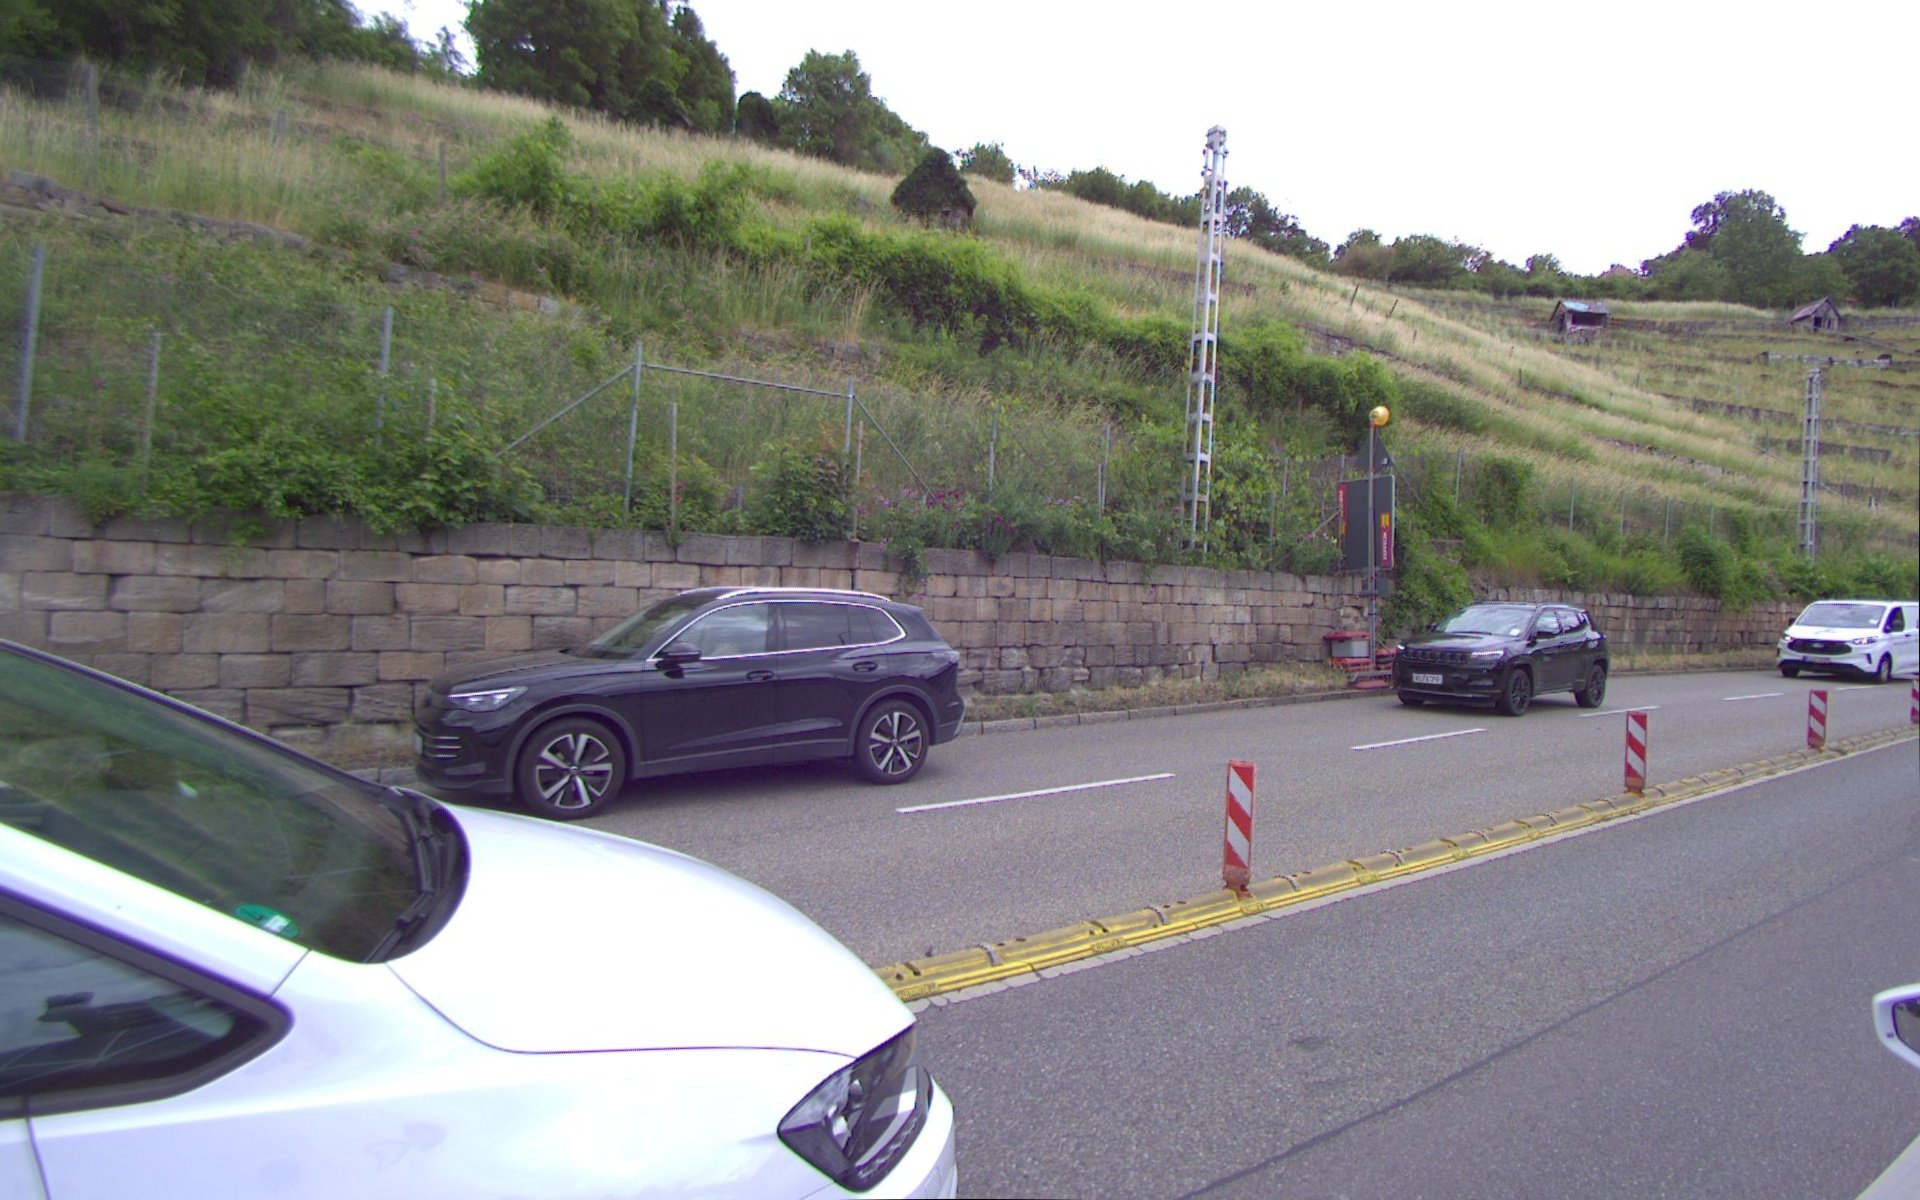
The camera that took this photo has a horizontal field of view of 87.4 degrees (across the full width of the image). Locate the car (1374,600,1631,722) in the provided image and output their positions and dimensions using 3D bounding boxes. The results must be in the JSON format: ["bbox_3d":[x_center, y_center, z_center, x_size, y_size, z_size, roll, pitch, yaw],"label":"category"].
[{"bbox_3d":[8.636,0.895,15.873,4.306,1.645,1.852,2,0,-36],"label":"car"}]

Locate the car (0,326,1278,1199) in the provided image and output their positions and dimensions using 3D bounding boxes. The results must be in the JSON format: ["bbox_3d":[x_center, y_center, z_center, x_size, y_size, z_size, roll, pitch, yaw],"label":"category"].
[{"bbox_3d":[-1.800,0.509,1.541,4.299,1.601,1.814,2,0,-27],"label":"car"}]

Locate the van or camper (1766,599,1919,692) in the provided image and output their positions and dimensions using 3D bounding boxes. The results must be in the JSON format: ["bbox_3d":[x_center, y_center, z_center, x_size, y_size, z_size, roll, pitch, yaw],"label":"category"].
[{"bbox_3d":[22.627,1.098,25.045,4.901,2.043,2.139,1,2,-28],"label":"van or camper"}]

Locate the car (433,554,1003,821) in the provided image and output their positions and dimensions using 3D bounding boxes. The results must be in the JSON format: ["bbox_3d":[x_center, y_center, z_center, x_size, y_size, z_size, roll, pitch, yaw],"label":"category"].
[{"bbox_3d":[-1.917,0.613,8.640,4.420,1.749,1.830,1,-1,-36],"label":"car"}]
